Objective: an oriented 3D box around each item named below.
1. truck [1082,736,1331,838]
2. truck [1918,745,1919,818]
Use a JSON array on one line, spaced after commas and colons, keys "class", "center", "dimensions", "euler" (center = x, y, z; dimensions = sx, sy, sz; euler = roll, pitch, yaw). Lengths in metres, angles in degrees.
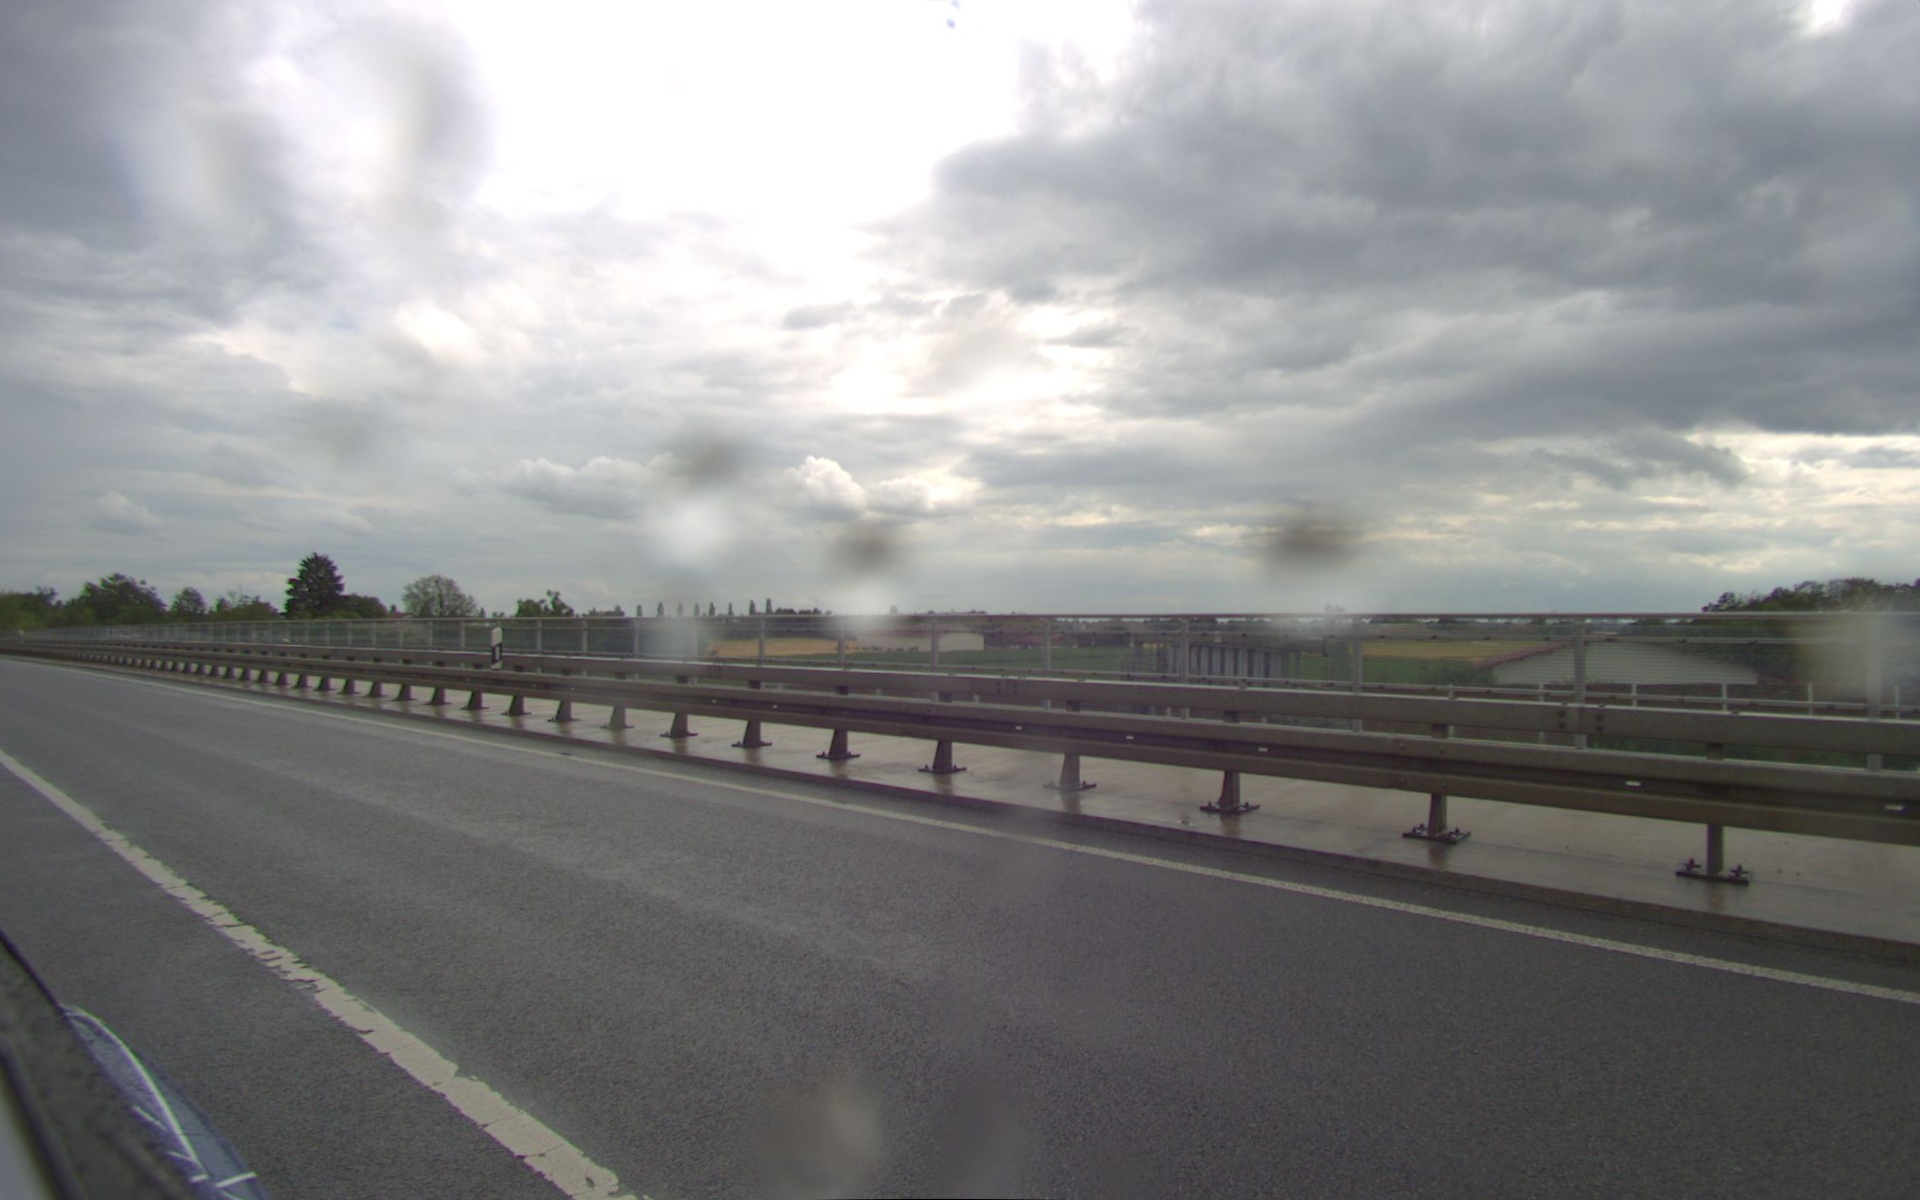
[{"class": "truck", "center": [11.439, 8.705, 47.510], "dimensions": [11.005, 4.032, 2.439], "euler": [-1, -1, -3]}, {"class": "truck", "center": [55.509, 9.343, 51.748], "dimensions": [11.005, 3.790, 2.439], "euler": [-1, -1, -3]}]
